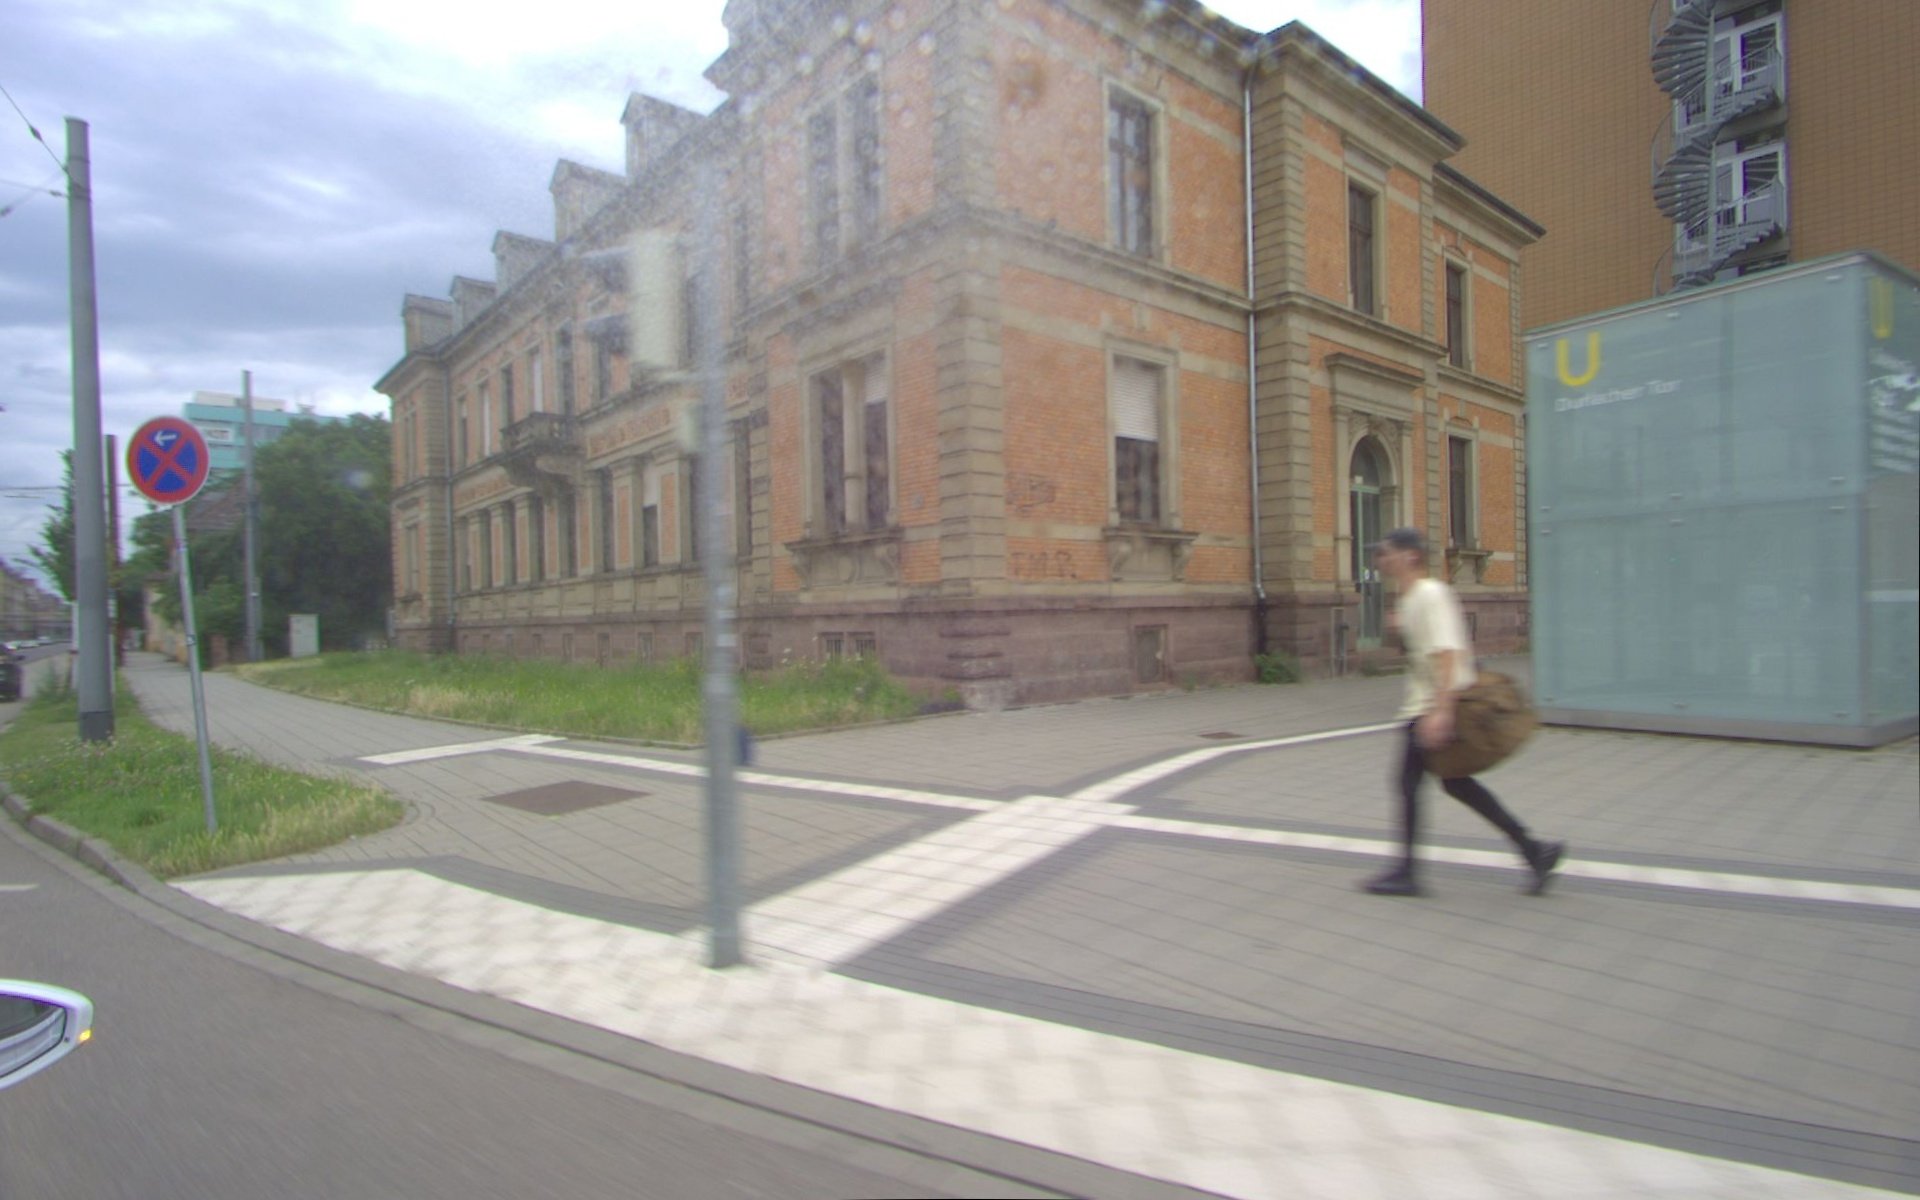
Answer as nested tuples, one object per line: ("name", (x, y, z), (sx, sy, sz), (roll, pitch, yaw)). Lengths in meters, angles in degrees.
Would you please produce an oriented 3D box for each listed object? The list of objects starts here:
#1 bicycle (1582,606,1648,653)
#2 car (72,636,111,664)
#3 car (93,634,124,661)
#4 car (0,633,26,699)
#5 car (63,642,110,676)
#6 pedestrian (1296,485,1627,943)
("bicycle", (19.865, 0.877, 30.354), (2.579, 1.356, 0.809), (0, -2, -37))
("car", (-53.927, 3.090, 62.197), (1.741, 1.595, 3.897), (-4, 1, -41))
("car", (-73.579, 4.073, 86.532), (1.836, 2.143, 4.942), (-4, 1, -41))
("car", (-27.378, 1.806, 27.917), (1.736, 1.778, 3.891), (1, -2, -40))
("car", (-43.066, 2.876, 49.391), (1.624, 1.453, 3.897), (-4, 1, -41))
("pedestrian", (2.330, 0.490, 4.795), (1.265, 1.892, 0.885), (-1, 0, 24))
